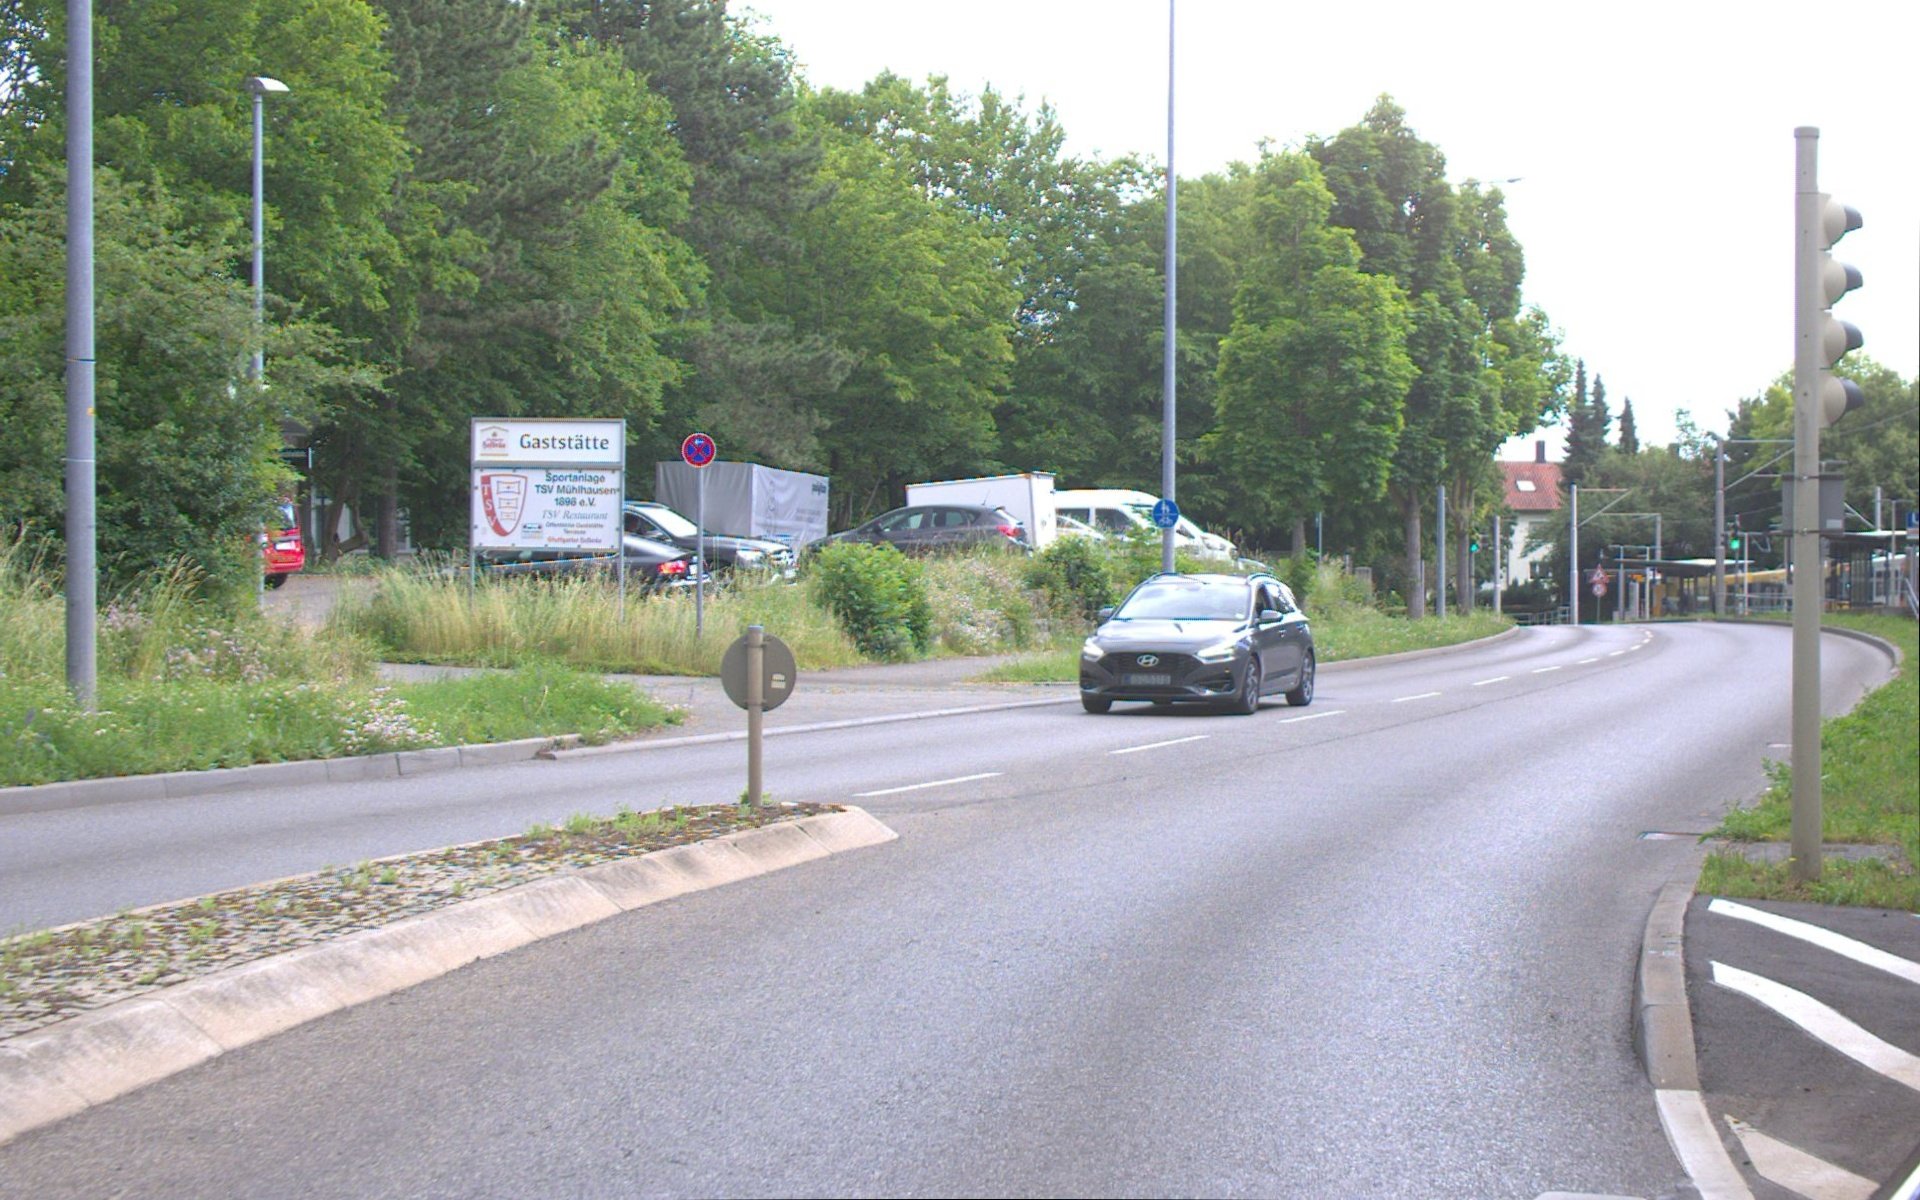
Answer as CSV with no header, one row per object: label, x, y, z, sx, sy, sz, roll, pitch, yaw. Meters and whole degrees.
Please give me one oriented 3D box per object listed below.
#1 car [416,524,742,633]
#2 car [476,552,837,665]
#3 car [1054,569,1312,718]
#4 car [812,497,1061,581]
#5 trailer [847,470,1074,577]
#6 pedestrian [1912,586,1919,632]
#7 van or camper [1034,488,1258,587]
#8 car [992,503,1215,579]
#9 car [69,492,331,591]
car,-5.145,-0.305,46.639,3.956,1.392,1.999,1,1,12
car,-4.535,0.105,51.616,4.929,1.579,2.206,1,1,14
car,2.449,0.414,36.583,1.995,1.433,4.423,1,1,13
car,-0.419,-1.118,63.585,4.313,1.444,1.835,-1,0,11
trailer,0.027,-1.481,66.614,3.990,2.007,1.906,1,1,17
pedestrian,30.817,0.292,110.079,0.567,1.459,0.595,1,0,10
van or camper,4.351,-1.469,80.383,4.894,2.195,1.999,1,1,14
car,3.257,-1.340,78.055,4.647,1.650,1.998,1,1,22
car,-13.256,-1.017,60.054,3.988,1.656,1.999,1,1,10
